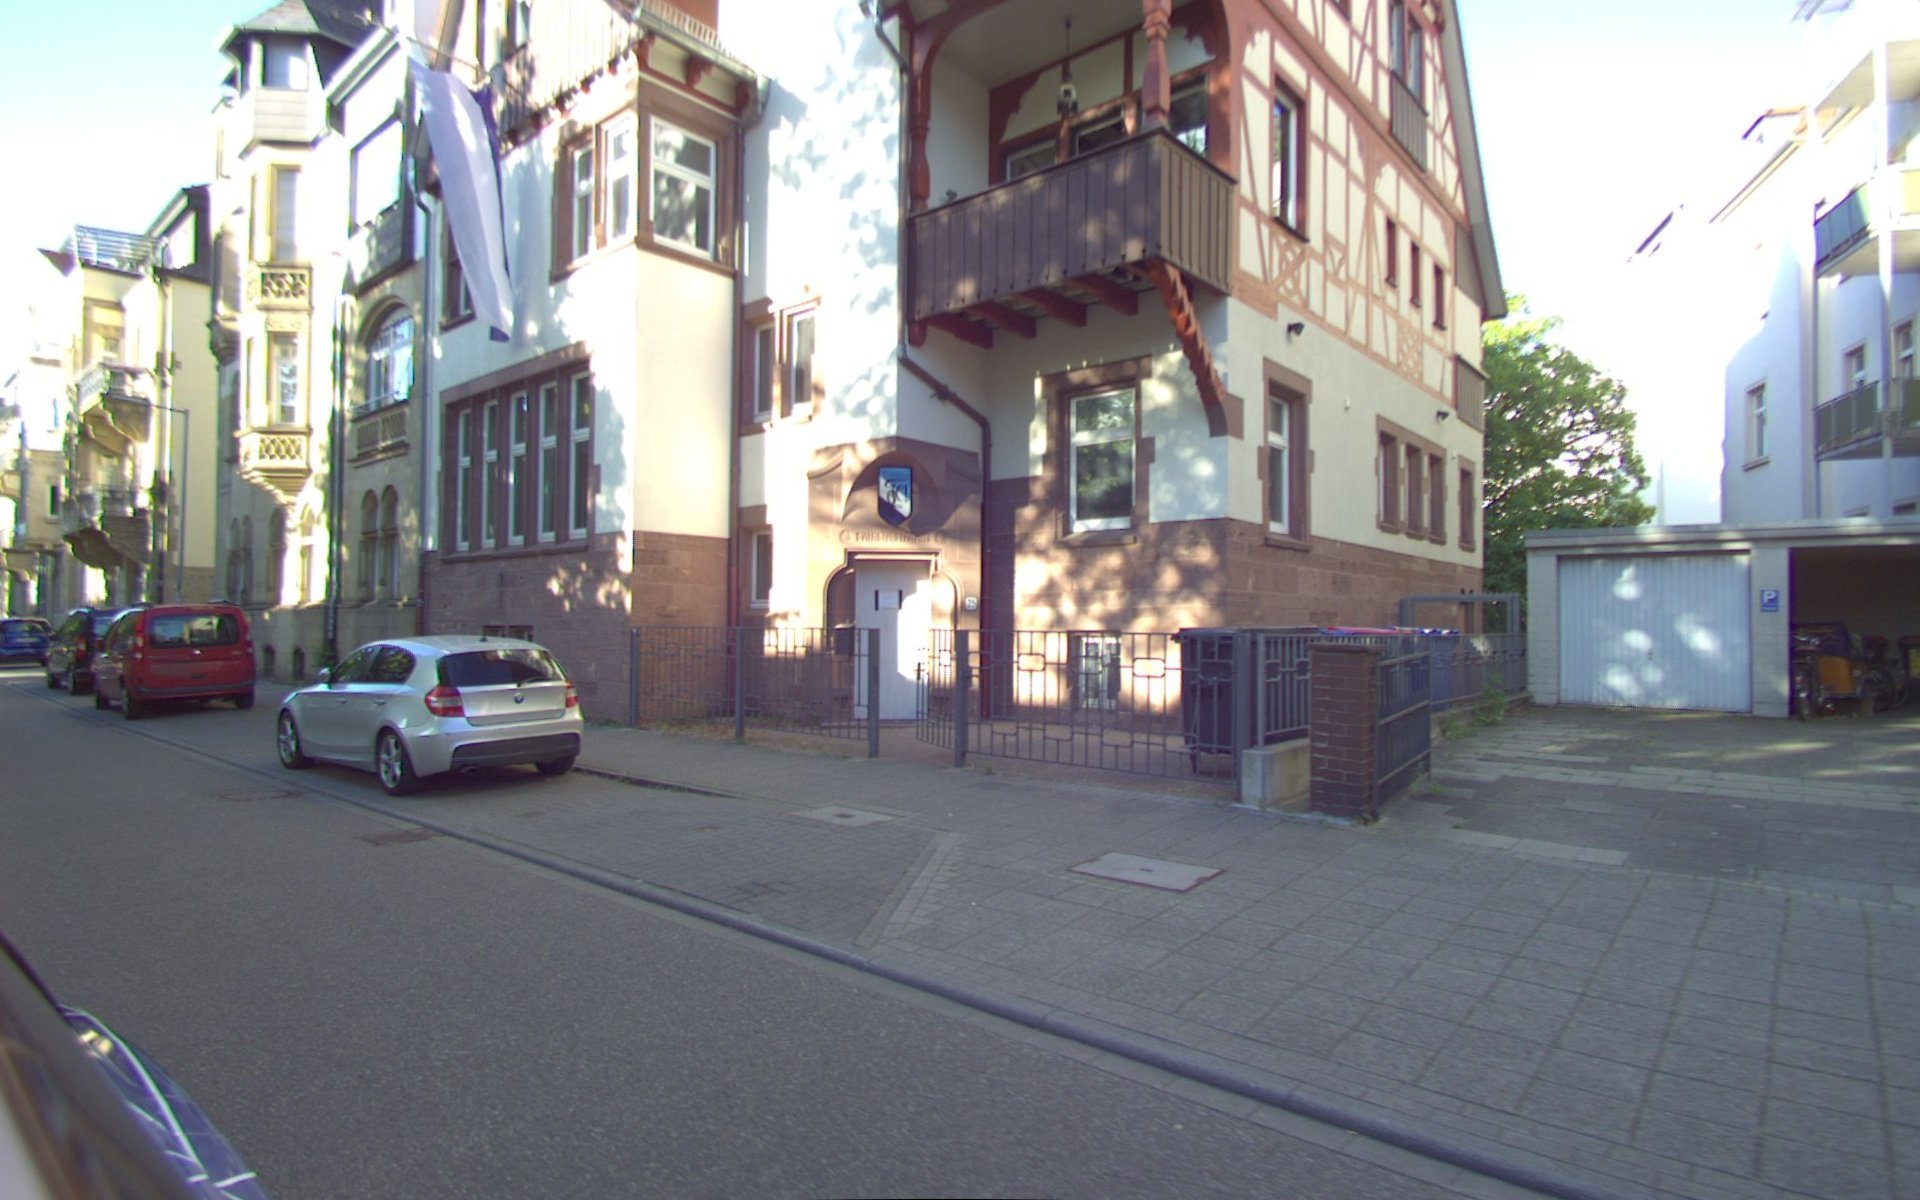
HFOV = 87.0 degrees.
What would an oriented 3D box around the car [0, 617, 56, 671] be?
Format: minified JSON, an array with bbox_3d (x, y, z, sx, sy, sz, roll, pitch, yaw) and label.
[{"bbox_3d":[-28.880,1.329,30.787,2.860,1.520,1.666,-1,1,41],"label":"car"}]

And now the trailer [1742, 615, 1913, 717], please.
[{"bbox_3d":[11.141,0.846,12.985,2.370,1.228,0.774,2,-3,-26],"label":"trailer"}]

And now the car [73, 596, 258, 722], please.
[{"bbox_3d":[-13.875,0.930,17.581,4.322,1.921,1.779,-1,0,41],"label":"car"}]

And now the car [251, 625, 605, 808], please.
[{"bbox_3d":[-5.518,1.006,10.299,4.099,1.477,1.727,-1,-1,39],"label":"car"}]

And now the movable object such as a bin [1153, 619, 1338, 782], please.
[{"bbox_3d":[2.518,0.821,8.916,1.358,1.309,0.970,1,-2,-40],"label":"movable object such as a bin"}]

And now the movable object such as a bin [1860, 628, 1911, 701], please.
[{"bbox_3d":[14.689,1.006,16.074,0.537,1.133,0.769,-1,-2,40],"label":"movable object such as a bin"}]

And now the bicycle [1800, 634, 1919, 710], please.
[{"bbox_3d":[13.039,1.018,14.519,0.662,1.026,1.376,3,-2,-19],"label":"bicycle"}]

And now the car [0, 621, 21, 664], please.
[{"bbox_3d":[-35.670,1.549,36.664,4.539,1.449,1.881,-1,2,41],"label":"car"}]

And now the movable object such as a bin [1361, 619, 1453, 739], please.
[{"bbox_3d":[5.231,0.886,11.830,0.631,1.320,1.188,-1,-2,42],"label":"movable object such as a bin"}]

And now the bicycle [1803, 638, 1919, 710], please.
[{"bbox_3d":[13.517,1.082,15.013,0.534,0.999,1.489,3,-2,-19],"label":"bicycle"}]

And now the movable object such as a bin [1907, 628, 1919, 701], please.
[{"bbox_3d":[15.194,0.998,15.800,0.537,1.133,0.769,-1,-2,40],"label":"movable object such as a bin"}]

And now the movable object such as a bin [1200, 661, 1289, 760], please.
[{"bbox_3d":[2.752,1.054,9.814,0.474,0.885,0.674,1,-2,-39],"label":"movable object such as a bin"}]

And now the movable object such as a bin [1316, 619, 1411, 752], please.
[{"bbox_3d":[4.365,0.869,10.902,0.685,1.327,1.368,-1,-2,34],"label":"movable object such as a bin"}]

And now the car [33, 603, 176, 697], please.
[{"bbox_3d":[-18.831,1.033,22.219,4.539,1.866,1.751,-1,-1,41],"label":"car"}]
